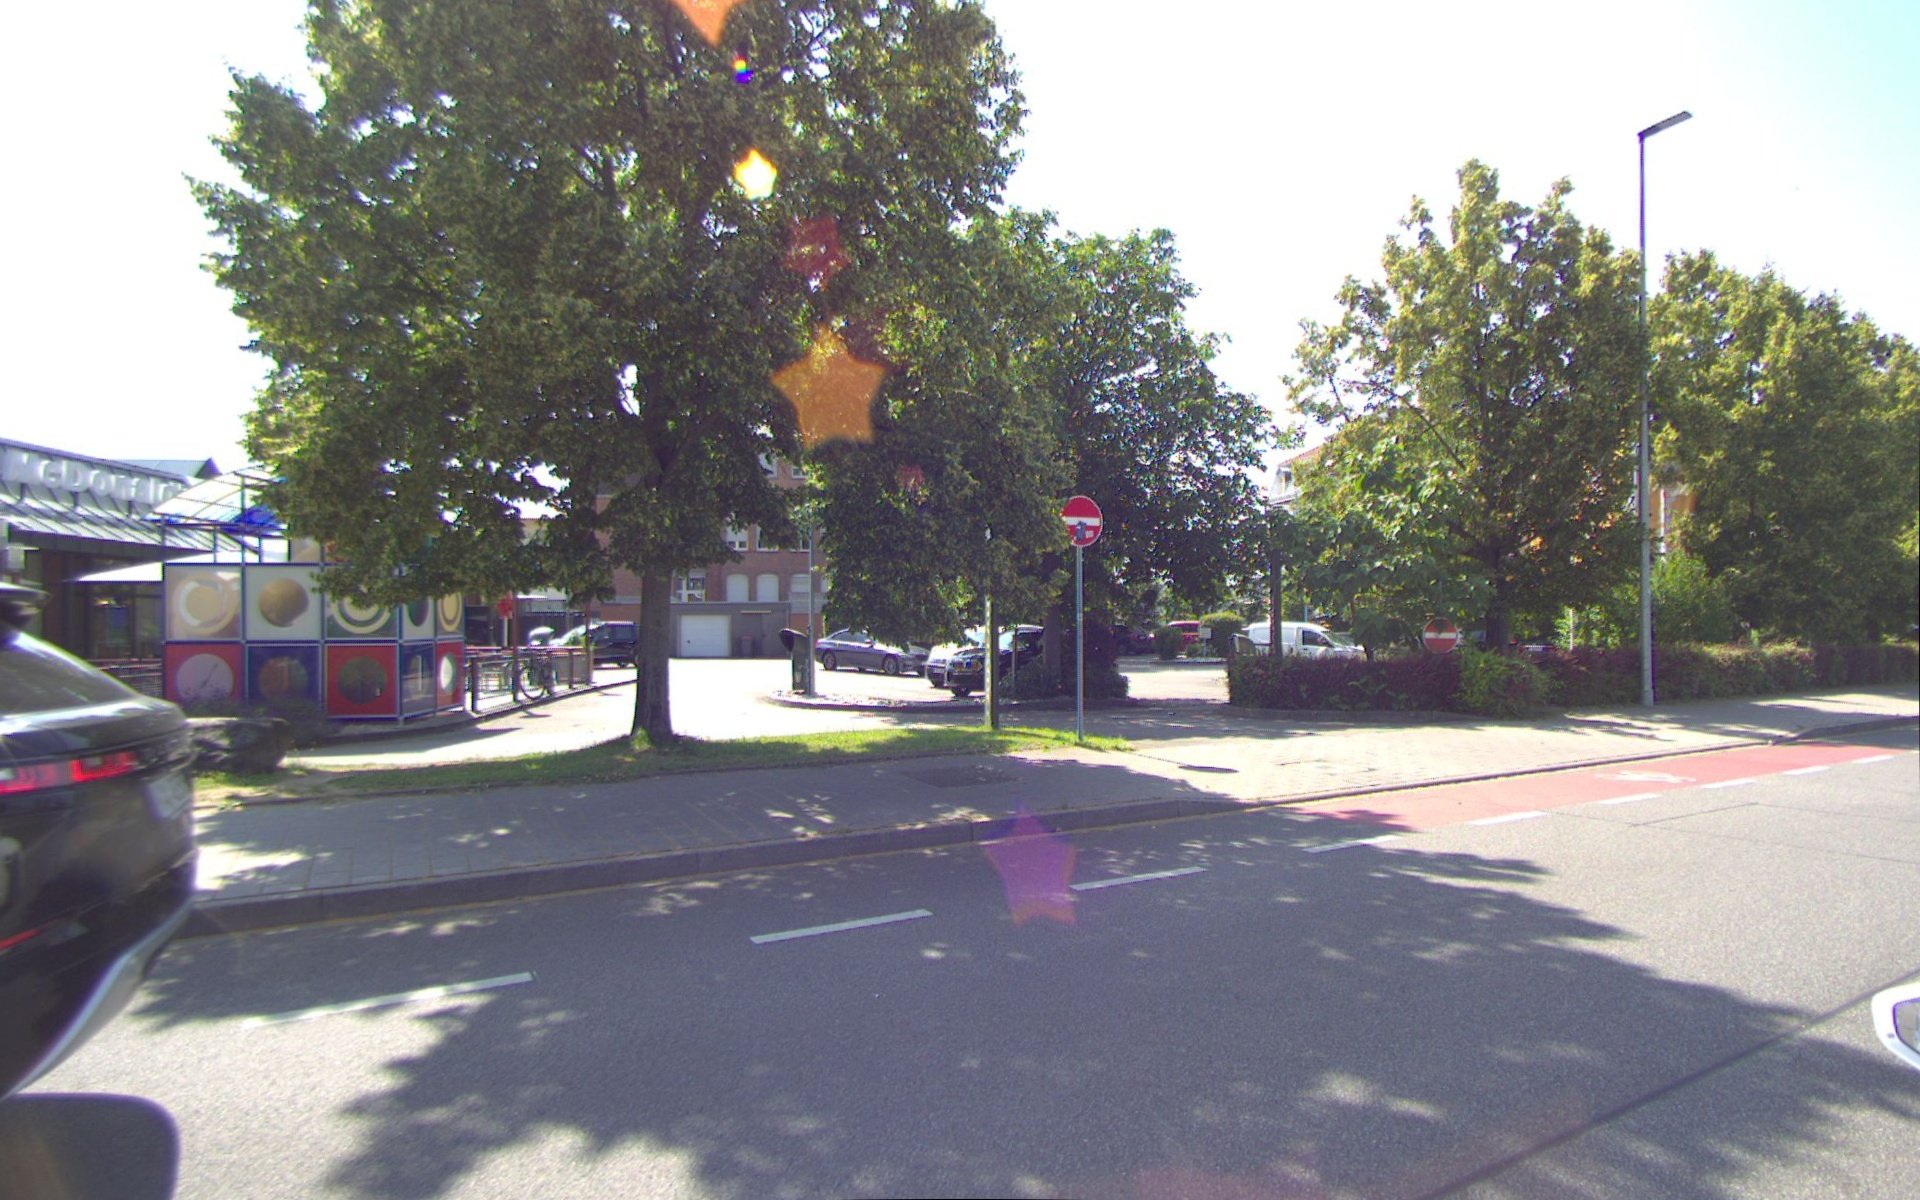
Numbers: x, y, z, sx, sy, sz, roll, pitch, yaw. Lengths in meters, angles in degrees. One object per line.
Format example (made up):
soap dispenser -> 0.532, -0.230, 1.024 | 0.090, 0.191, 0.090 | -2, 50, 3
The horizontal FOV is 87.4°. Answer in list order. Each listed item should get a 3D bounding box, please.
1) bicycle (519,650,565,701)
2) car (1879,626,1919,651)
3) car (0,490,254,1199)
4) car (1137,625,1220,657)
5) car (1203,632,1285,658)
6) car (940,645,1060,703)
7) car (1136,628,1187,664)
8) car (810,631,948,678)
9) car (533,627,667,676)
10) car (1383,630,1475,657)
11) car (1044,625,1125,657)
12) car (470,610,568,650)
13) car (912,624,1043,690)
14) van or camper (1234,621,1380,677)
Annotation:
bicycle -> -8.858, 1.577, 21.339 | 0.302, 1.005, 1.858 | 0, -2, -3
car -> 75.696, 3.049, 80.177 | 1.960, 1.929, 4.001 | 0, -2, 17
car -> -4.200, 0.632, 1.868 | 4.560, 1.717, 1.940 | 1, -2, -31
car -> 11.445, 2.113, 52.842 | 1.786, 1.619, 3.949 | 1, -2, -43
car -> 15.100, 2.370, 53.471 | 3.934, 1.356, 1.580 | -1, -2, 35
car -> 1.104, 1.822, 25.648 | 1.578, 1.303, 3.996 | -1, -2, 26
car -> 9.169, 2.082, 45.961 | 1.473, 1.546, 3.433 | 0, -2, -3
car -> -2.740, 1.777, 33.544 | 4.320, 1.457, 1.994 | -1, -2, 35
car -> -13.160, 1.840, 36.915 | 1.750, 1.707, 4.324 | -2, -2, 43
car -> 25.723, 2.369, 55.145 | 4.222, 1.457, 1.990 | -2, -2, 41
car -> 6.409, 2.089, 51.838 | 1.786, 1.619, 3.949 | 1, -2, -43
car -> -24.894, 1.713, 56.828 | 4.717, 2.206, 1.997 | 0, -1, -10
car -> 0.575, 1.583, 28.878 | 1.690, 1.758, 4.234 | -1, -2, 35
van or camper -> 11.601, 1.612, 33.723 | 4.222, 1.763, 1.990 | -2, -2, 41
